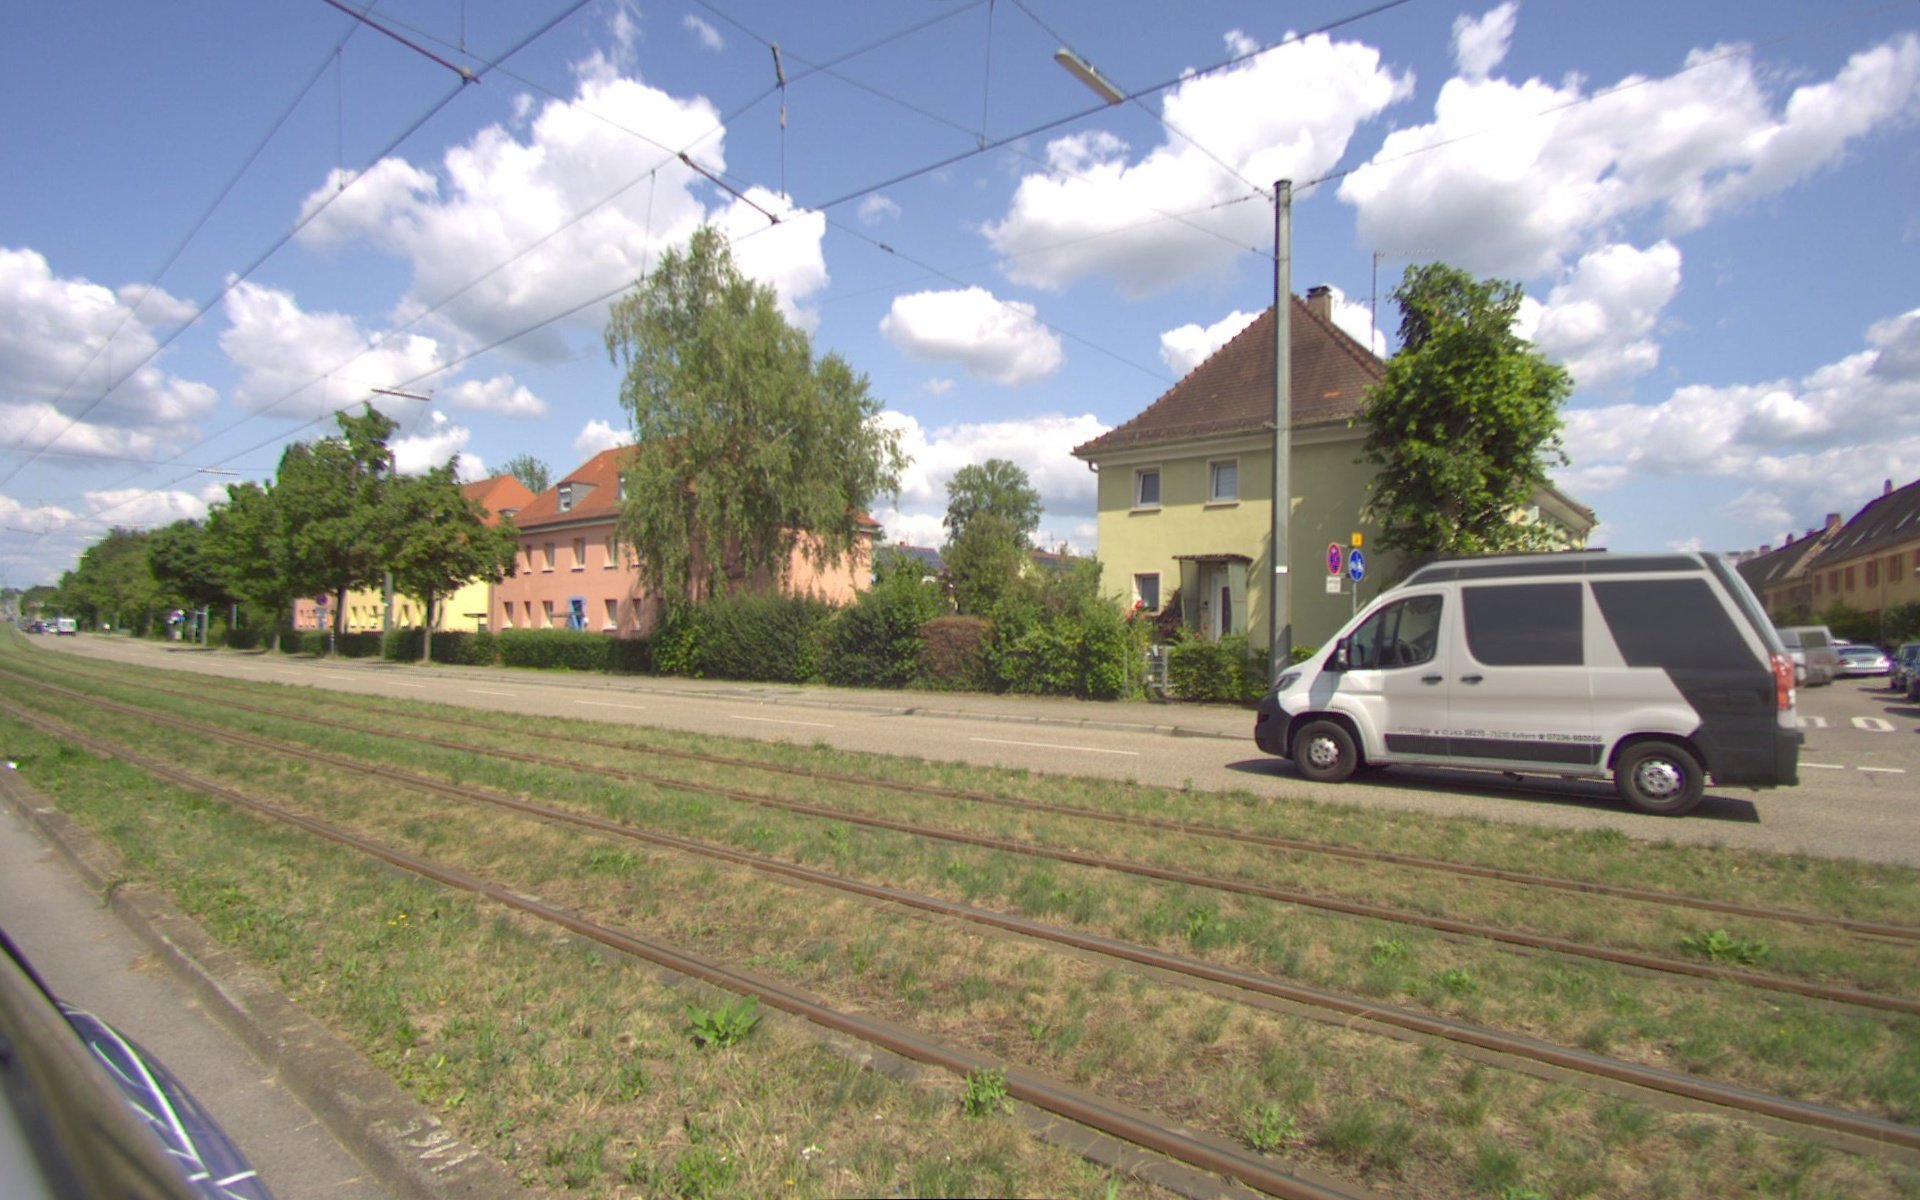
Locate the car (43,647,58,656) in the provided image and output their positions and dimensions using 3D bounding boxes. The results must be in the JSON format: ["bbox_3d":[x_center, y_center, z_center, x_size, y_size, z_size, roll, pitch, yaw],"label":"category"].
[{"bbox_3d":[-154.890,8.733,172.372,1.666,1.442,4.279,3,-4,-44],"label":"car"}]

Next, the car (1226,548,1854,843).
[{"bbox_3d":[5.789,0.874,10.732,5.325,2.390,2.175,-1,-4,38],"label":"car"}]

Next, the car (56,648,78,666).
[{"bbox_3d":[-130.312,8.267,147.704,2.008,2.455,5.781,5,-5,-44],"label":"car"}]

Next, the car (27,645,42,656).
[{"bbox_3d":[-149.294,8.192,163.245,1.666,1.760,4.230,3,-4,-44],"label":"car"}]
